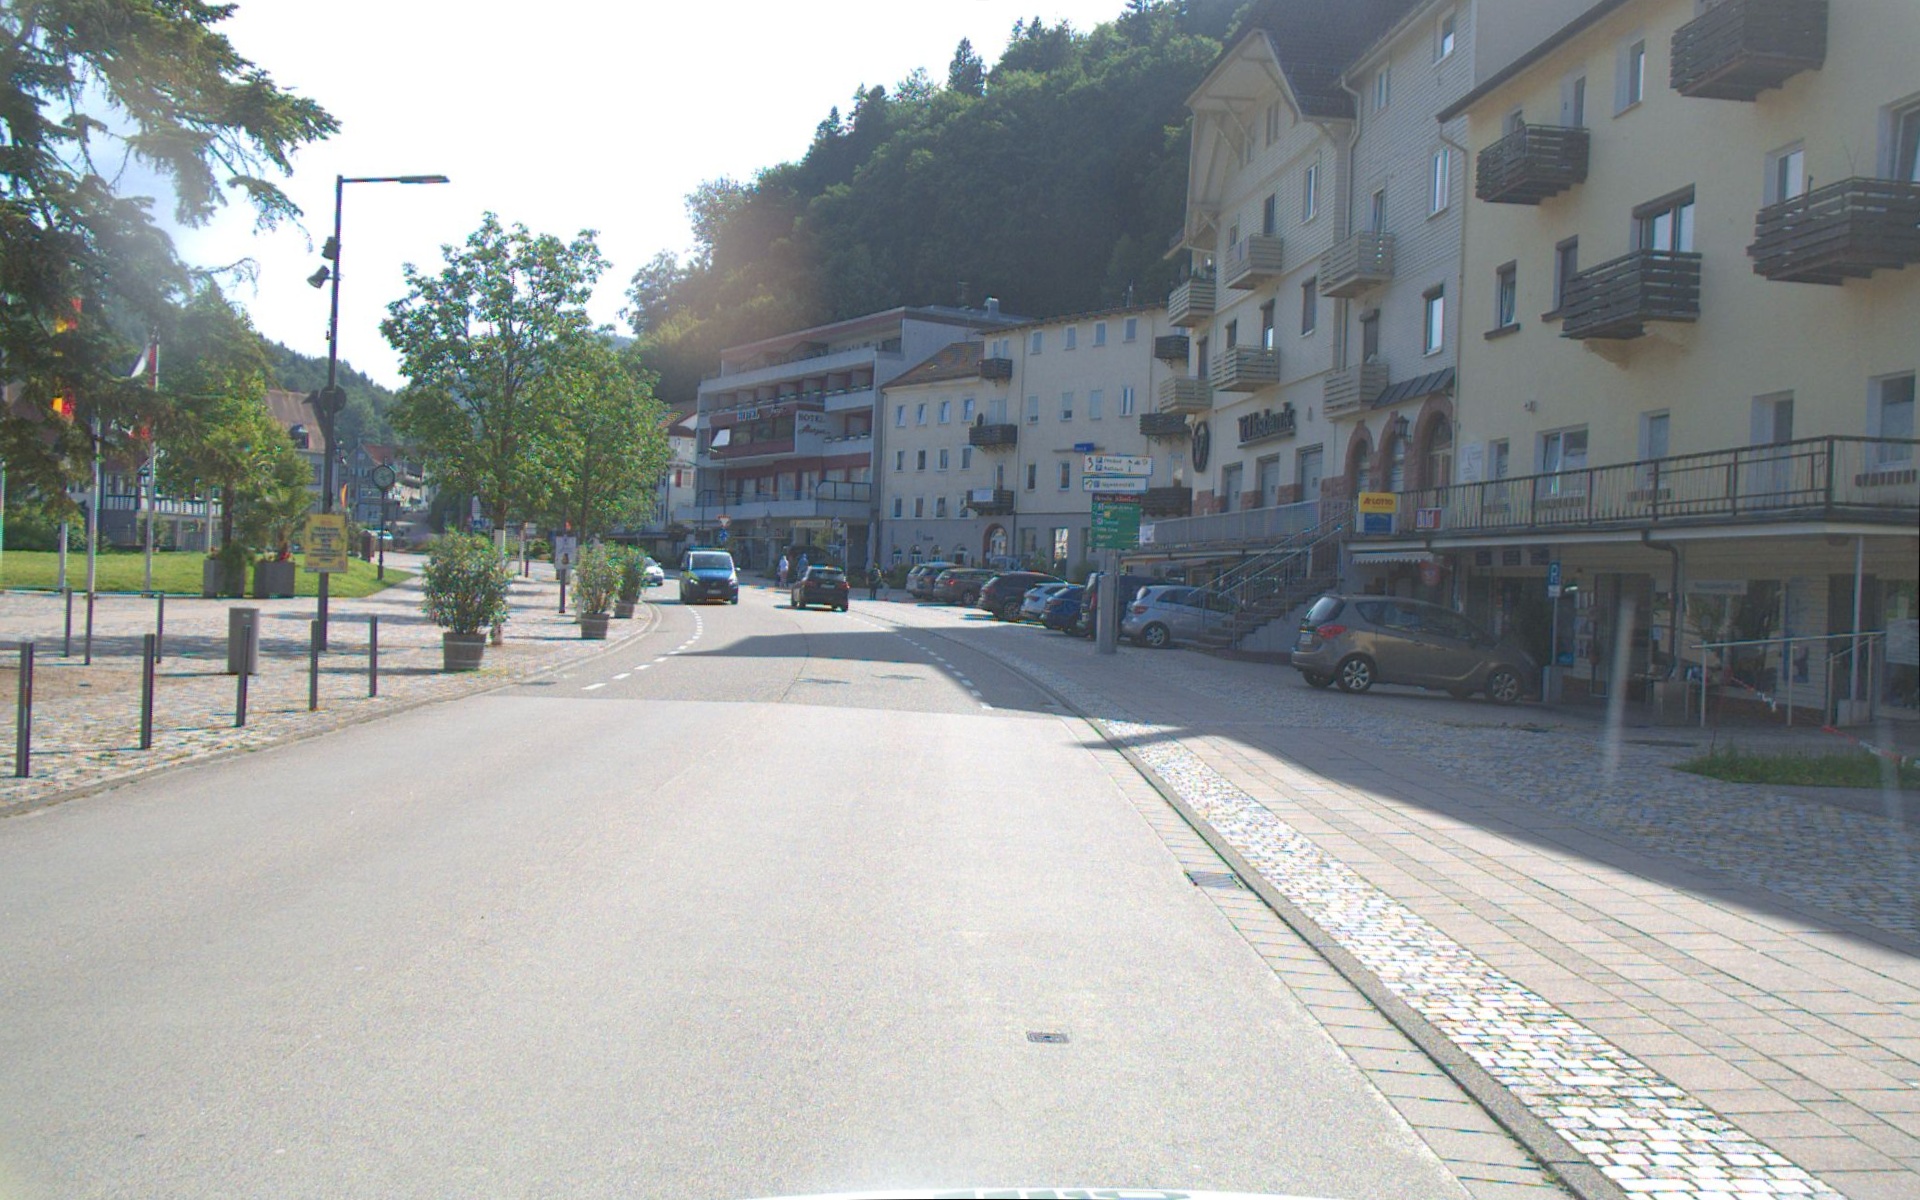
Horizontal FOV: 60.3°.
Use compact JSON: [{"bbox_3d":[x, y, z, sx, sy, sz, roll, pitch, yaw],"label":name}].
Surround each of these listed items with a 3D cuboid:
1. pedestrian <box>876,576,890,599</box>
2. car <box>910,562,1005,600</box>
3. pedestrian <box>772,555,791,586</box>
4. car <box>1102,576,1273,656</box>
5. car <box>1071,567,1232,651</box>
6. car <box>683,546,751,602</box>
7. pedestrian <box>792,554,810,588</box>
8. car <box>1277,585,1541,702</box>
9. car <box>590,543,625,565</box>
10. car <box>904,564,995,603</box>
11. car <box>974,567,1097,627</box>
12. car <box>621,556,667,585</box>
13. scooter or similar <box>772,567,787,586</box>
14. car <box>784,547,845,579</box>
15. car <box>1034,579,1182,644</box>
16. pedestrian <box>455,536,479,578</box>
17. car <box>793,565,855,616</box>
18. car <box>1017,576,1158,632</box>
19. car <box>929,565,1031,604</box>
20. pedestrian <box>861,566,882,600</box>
[{"bbox_3d":[-3.463,-0.557,74.095,0.414,1.019,0.524,0,2,-37],"label":"pedestrian"},{"bbox_3d":[-0.105,-0.872,73.124,3.813,1.576,1.758,-1,3,-26],"label":"car"},{"bbox_3d":[-9.436,-1.560,87.300,0.748,1.621,0.622,2,1,-28],"label":"pedestrian"},{"bbox_3d":[5.661,0.387,41.407,3.835,1.616,1.773,5,1,-6],"label":"car"},{"bbox_3d":[5.067,0.230,43.975,3.835,1.835,1.855,5,0,-5],"label":"car"},{"bbox_3d":[-9.073,-0.979,61.389,1.825,1.987,4.995,1,1,-16],"label":"car"},{"bbox_3d":[-8.373,-1.543,87.103,0.661,1.758,0.701,2,1,-28],"label":"pedestrian"},{"bbox_3d":[7.469,0.713,27.678,3.788,1.581,1.758,5,0,-8],"label":"car"},{"bbox_3d":[-29.172,-3.814,136.938,1.658,1.648,3.961,2,1,-30],"label":"car"},{"bbox_3d":[-0.475,-0.763,75.267,3.813,1.640,1.758,-1,3,-26],"label":"car"},{"bbox_3d":[2.633,-0.124,58.157,4.006,1.694,1.771,5,1,-5],"label":"car"},{"bbox_3d":[-15.250,-1.431,79.685,1.603,1.394,4.042,0,1,-19],"label":"car"},{"bbox_3d":[-9.540,-1.250,87.474,0.589,0.967,0.470,2,1,-28],"label":"scooter or similar"},{"bbox_3d":[-8.445,-2.163,95.720,3.124,1.691,1.581,2,1,-26],"label":"car"},{"bbox_3d":[4.156,0.313,46.829,3.834,1.486,1.734,5,1,-5],"label":"car"},{"bbox_3d":[-22.199,-1.947,74.403,0.856,1.846,0.685,2,1,-27],"label":"pedestrian"},{"bbox_3d":[-4.997,-0.374,60.469,1.697,1.601,3.742,3,2,-12],"label":"car"},{"bbox_3d":[4.069,0.126,53.369,4.270,1.486,1.771,4,-1,-3],"label":"car"},{"bbox_3d":[0.857,-0.684,69.989,3.960,1.542,1.758,-1,3,-26],"label":"car"},{"bbox_3d":[-3.963,-0.768,73.815,0.729,1.467,0.625,0,2,-36],"label":"pedestrian"}]
